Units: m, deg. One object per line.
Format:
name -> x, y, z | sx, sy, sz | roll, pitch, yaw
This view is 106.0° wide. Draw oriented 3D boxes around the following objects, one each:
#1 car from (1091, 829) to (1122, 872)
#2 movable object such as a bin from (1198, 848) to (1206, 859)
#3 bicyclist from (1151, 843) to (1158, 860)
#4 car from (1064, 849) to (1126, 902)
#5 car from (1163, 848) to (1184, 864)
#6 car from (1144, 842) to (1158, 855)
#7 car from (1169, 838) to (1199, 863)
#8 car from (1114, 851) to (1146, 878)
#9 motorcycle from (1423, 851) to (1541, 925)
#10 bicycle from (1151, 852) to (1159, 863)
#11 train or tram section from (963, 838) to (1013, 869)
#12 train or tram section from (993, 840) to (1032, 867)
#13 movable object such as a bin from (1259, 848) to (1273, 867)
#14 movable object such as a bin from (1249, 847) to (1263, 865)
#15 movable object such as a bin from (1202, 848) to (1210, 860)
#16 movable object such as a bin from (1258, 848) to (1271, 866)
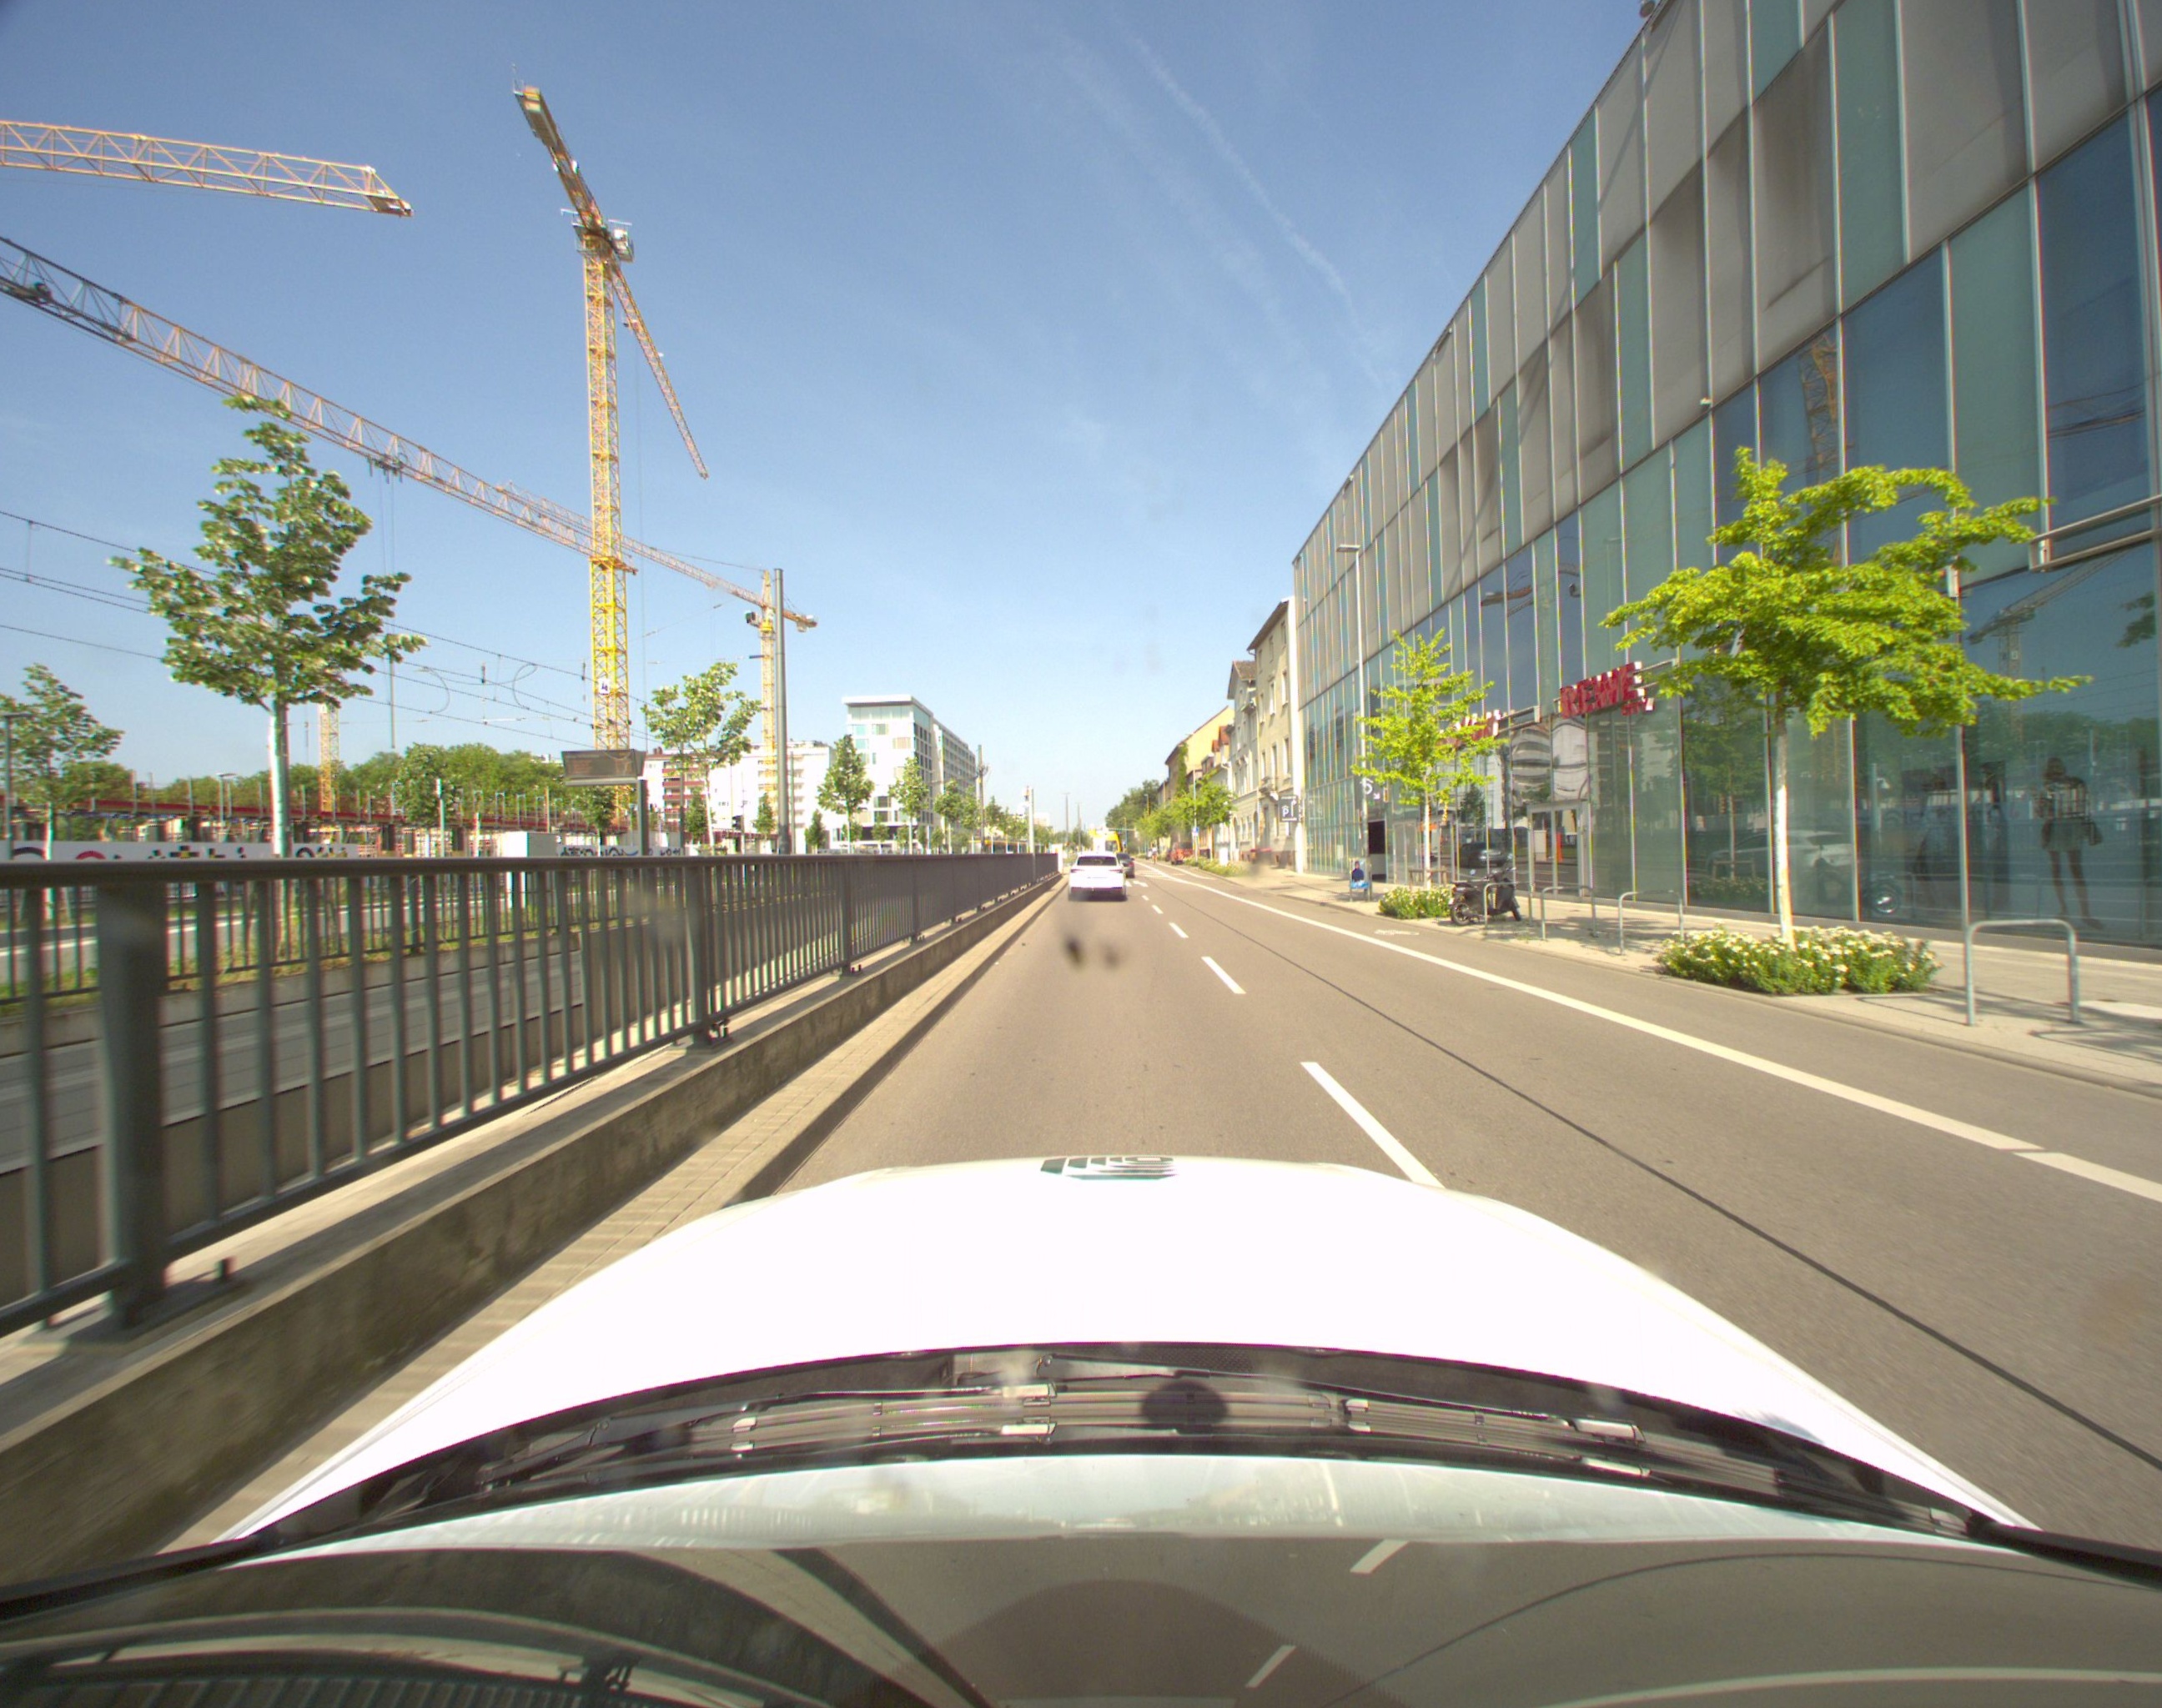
car -> 1.814, -0.328, 57.785 | 2.012, 2.795, 5.404 | -1, 2, 2
movable object such as a bin -> 12.765, -0.078, 86.067 | 0.737, 1.200, 0.773 | -1, 0, 0
bicyclist -> 6.891, -0.262, 76.088 | 0.636, 1.577, 0.772 | -1, 0, 4
car -> 0.504, 0.656, 26.891 | 1.863, 1.574, 4.002 | -2, 0, 2
car -> 9.460, 0.191, 83.571 | 1.667, 1.483, 4.313 | -3, 0, 1
car -> 9.782, -0.783, 113.880 | 1.806, 1.812, 3.837 | -1, 1, 1
car -> 8.865, -0.319, 70.390 | 2.055, 2.013, 4.590 | -2, 1, 1
car -> 2.737, 0.543, 46.397 | 1.753, 1.436, 4.117 | 0, 1, 2
motorcycle -> 8.004, 0.658, 16.295 | 1.968, 1.349, 0.865 | -2, 0, -9
bicycle -> 6.906, 0.328, 76.060 | 0.652, 0.938, 1.519 | -1, 0, 4
train or tram section -> -11.712, -0.097, 104.901 | 2.892, 3.676, 18.160 | 0, 0, 5
train or tram section -> -10.147, -0.105, 123.093 | 2.892, 3.707, 18.314 | 0, 0, 5
movable object such as a bin -> 11.902, 0.212, 52.404 | 0.779, 1.172, 0.808 | -1, 2, 1
movable object such as a bin -> 11.991, 0.121, 55.826 | 0.674, 1.152, 0.610 | -3, 3, -42
movable object such as a bin -> 12.777, -0.043, 83.034 | 0.677, 1.200, 0.781 | -1, 0, 1
movable object such as a bin -> 12.030, 0.180, 53.373 | 0.702, 1.152, 0.671 | -1, 2, 1
